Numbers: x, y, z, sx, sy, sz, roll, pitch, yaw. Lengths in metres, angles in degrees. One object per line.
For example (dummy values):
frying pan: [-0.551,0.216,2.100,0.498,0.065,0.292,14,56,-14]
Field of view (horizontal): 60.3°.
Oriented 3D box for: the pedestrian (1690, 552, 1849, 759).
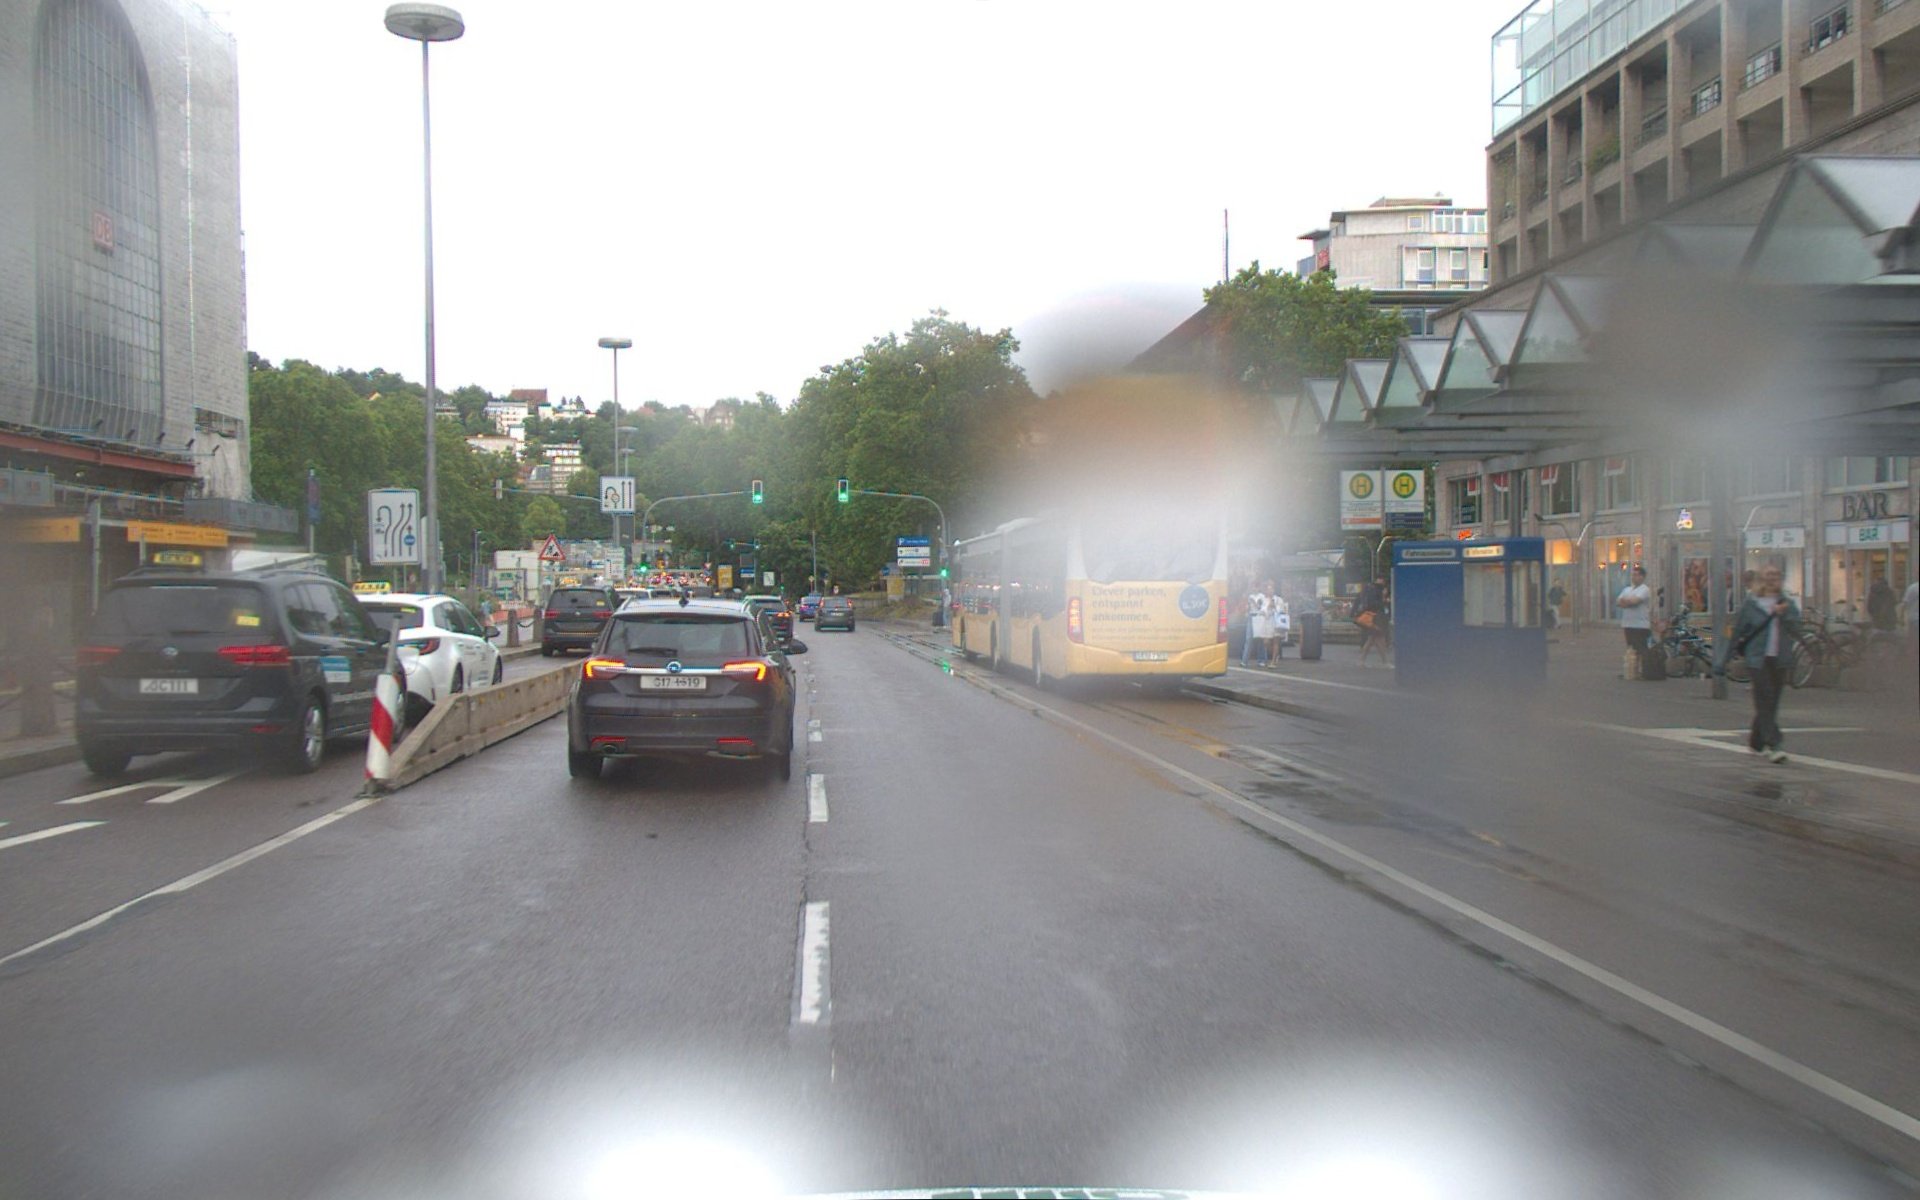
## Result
pedestrian: [6.998,0.456,14.329,0.750,1.720,0.991,0,0,-26]

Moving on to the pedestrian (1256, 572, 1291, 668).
pedestrian: [6.188,0.391,32.653,0.679,1.869,0.556,0,0,11]

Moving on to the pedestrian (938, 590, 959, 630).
pedestrian: [-0.541,0.467,77.207,0.734,1.836,0.705,-1,0,-20]

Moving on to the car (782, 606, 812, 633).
car: [-10.650,1.269,107.876,1.868,1.747,3.993,0,0,-7]

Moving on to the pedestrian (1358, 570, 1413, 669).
pedestrian: [8.192,0.363,31.848,0.963,1.869,0.836,0,0,11]

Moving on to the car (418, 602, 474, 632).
car: [-26.465,0.856,85.307,1.955,1.493,3.996,0,0,-5]

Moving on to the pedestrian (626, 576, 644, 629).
pedestrian: [-12.734,0.083,64.796,0.609,2.049,0.835,0,0,-6]

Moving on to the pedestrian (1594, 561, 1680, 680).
pedestrian: [10.768,0.319,26.319,0.779,1.836,0.981,-1,0,-33]

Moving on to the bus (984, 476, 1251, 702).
bus: [2.408,-0.128,28.939,3.080,3.304,9.125,0,0,-5]

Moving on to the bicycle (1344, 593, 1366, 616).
bicycle: [19.688,0.219,82.466,0.603,1.074,1.996,-2,0,2]

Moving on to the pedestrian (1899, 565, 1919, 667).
pedestrian: [16.757,0.269,28.440,0.968,1.724,0.854,0,0,36]

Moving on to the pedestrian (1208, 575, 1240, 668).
pedestrian: [5.379,0.430,33.739,0.554,1.869,0.569,0,0,-2]

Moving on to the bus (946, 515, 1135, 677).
bus: [1.597,-0.049,38.061,3.053,3.261,9.231,0,0,-6]

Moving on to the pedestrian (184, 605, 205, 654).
pedestrian: [-29.140,1.114,62.962,0.525,1.873,0.770,0,0,-7]

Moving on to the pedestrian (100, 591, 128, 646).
pedestrian: [-29.121,0.645,56.941,0.759,1.873,0.830,0,0,-19]

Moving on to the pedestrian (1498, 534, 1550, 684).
pedestrian: [8.598,0.135,25.234,0.578,2.254,0.587,0,0,-3]

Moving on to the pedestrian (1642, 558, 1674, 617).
pedestrian: [21.778,-0.385,51.628,0.639,1.823,0.789,-1,0,-1]

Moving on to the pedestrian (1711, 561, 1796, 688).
pedestrian: [11.046,0.332,23.045,0.733,1.724,0.901,0,0,-2]

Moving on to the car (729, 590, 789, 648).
car: [-6.309,0.567,51.939,1.796,1.715,4.127,-1,0,-7]

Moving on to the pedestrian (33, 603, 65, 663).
pedestrian: [-26.296,0.935,47.742,0.671,1.715,0.834,0,0,-19]

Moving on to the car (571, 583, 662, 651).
car: [-9.508,0.446,46.159,2.010,1.741,5.048,-1,0,-7]

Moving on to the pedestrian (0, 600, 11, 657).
pedestrian: [-27.968,0.832,47.776,0.663,1.642,0.838,0,0,-3]

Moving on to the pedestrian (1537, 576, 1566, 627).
pedestrian: [21.198,0.060,59.281,0.717,1.823,0.788,-1,0,-6]

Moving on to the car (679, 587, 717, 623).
car: [-14.297,0.291,90.154,1.957,1.877,5.051,0,0,-9]

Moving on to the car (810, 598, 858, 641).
car: [-5.342,0.801,69.994,1.817,1.747,3.993,0,0,-7]

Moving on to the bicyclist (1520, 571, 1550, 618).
bicyclist: [19.758,-0.175,56.834,0.637,1.581,0.907,-1,0,-3]

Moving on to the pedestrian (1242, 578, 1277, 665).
pedestrian: [6.096,0.436,33.683,0.597,1.753,0.592,0,0,-1]

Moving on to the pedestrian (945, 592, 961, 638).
pedestrian: [-0.317,0.698,78.658,0.546,2.183,0.664,-1,0,-20]

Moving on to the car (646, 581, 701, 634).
car: [-10.828,0.266,62.752,1.680,1.925,4.604,-1,0,-6]

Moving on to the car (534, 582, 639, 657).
car: [-8.969,0.438,40.067,1.955,1.683,4.635,-1,0,-6]

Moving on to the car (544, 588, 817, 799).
car: [-2.255,0.680,14.559,1.840,1.534,4.848,0,0,-3]

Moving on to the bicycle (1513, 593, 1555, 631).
bicycle: [19.754,0.387,56.955,0.646,1.277,2.012,-1,0,-3]

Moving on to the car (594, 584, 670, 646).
car: [-10.134,0.441,51.314,1.956,1.818,4.447,-1,0,-7]

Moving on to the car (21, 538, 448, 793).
car: [-6.245,0.489,14.960,1.954,1.895,4.829,-1,0,-4]

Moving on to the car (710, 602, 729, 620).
car: [-23.079,1.061,158.652,1.676,1.694,3.695,0,0,-12]

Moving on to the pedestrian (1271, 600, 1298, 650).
pedestrian: [8.368,0.633,42.613,0.504,1.254,0.770,-1,0,-2]

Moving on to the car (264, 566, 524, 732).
car: [-6.689,0.518,20.116,1.955,1.736,4.826,-1,0,-6]

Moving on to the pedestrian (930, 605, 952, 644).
pedestrian: [-0.938,1.191,80.080,0.775,1.871,0.945,-1,0,-20]

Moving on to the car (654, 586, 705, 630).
car: [-11.630,0.324,68.796,1.752,1.715,4.661,-1,0,-5]

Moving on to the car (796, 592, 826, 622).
car: [-8.465,0.402,93.701,1.642,1.609,3.235,0,0,-6]

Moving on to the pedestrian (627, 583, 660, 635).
pedestrian: [-12.640,0.369,65.990,0.818,2.049,1.025,0,0,32]

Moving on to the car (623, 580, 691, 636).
car: [-10.444,0.258,57.310,1.955,1.818,4.841,-1,0,-6]
